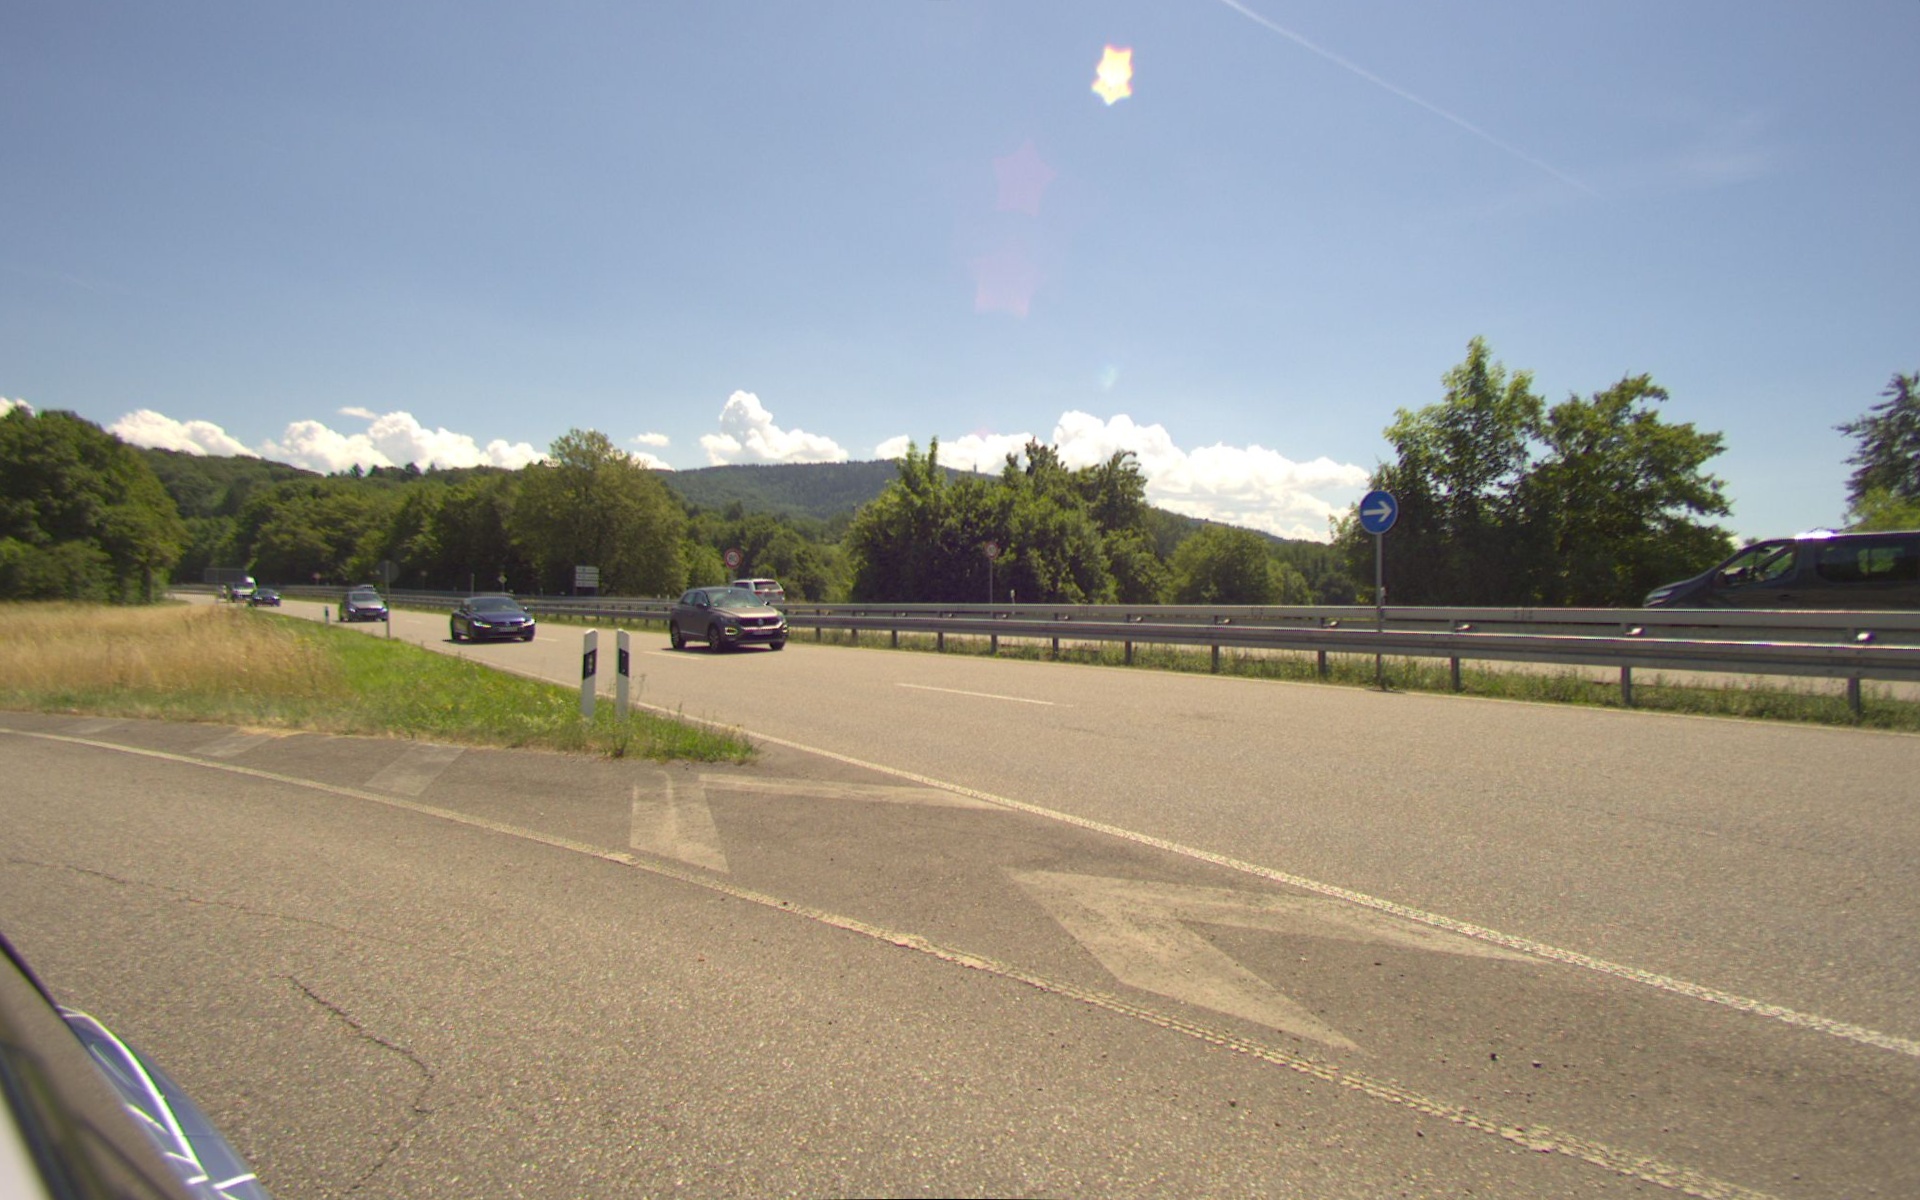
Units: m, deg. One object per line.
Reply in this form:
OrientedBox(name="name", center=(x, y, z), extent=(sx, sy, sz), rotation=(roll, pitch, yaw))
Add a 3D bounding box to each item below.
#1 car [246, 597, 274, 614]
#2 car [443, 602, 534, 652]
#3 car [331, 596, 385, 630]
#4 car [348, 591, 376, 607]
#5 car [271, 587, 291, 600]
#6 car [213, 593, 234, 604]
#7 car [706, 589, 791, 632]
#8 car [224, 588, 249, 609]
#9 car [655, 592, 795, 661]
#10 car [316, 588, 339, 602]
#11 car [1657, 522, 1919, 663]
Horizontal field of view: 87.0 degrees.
OrientedBox(name="car", center=(-58.953, 0.432, 85.186), extent=(1.817, 1.418, 4.480), rotation=(-1, 1, -36))
OrientedBox(name="car", center=(-15.038, 0.820, 32.154), extent=(1.817, 1.418, 4.480), rotation=(-2, 0, -36))
OrientedBox(name="car", center=(-31.656, 0.654, 53.170), extent=(1.770, 1.680, 4.562), rotation=(0, 0, -40))
OrientedBox(name="car", center=(-68.235, -0.152, 115.452), extent=(1.907, 1.764, 4.919), rotation=(-1, 1, -42))
OrientedBox(name="car", center=(-104.930, -0.977, 156.304), extent=(1.969, 1.907, 4.919), rotation=(-1, 1, -41))
OrientedBox(name="car", center=(-87.042, -0.174, 119.559), extent=(1.646, 1.292, 4.006), rotation=(-1, 1, -41))
OrientedBox(name="car", center=(-10.031, 0.453, 47.672), extent=(1.968, 1.907, 4.923), rotation=(0, 1, -38))
OrientedBox(name="car", center=(-72.123, -0.183, 100.873), extent=(1.977, 2.014, 4.590), rotation=(-1, 1, -36))
OrientedBox(name="car", center=(-5.964, 0.617, 25.259), extent=(1.817, 1.541, 4.481), rotation=(-2, 0, -35))
OrientedBox(name="car", center=(-87.646, -0.666, 140.256), extent=(1.969, 1.907, 4.919), rotation=(-1, 1, -41))
OrientedBox(name="car", center=(13.511, -0.120, 14.870), extent=(2.174, 1.907, 4.925), rotation=(0, 1, -34))
